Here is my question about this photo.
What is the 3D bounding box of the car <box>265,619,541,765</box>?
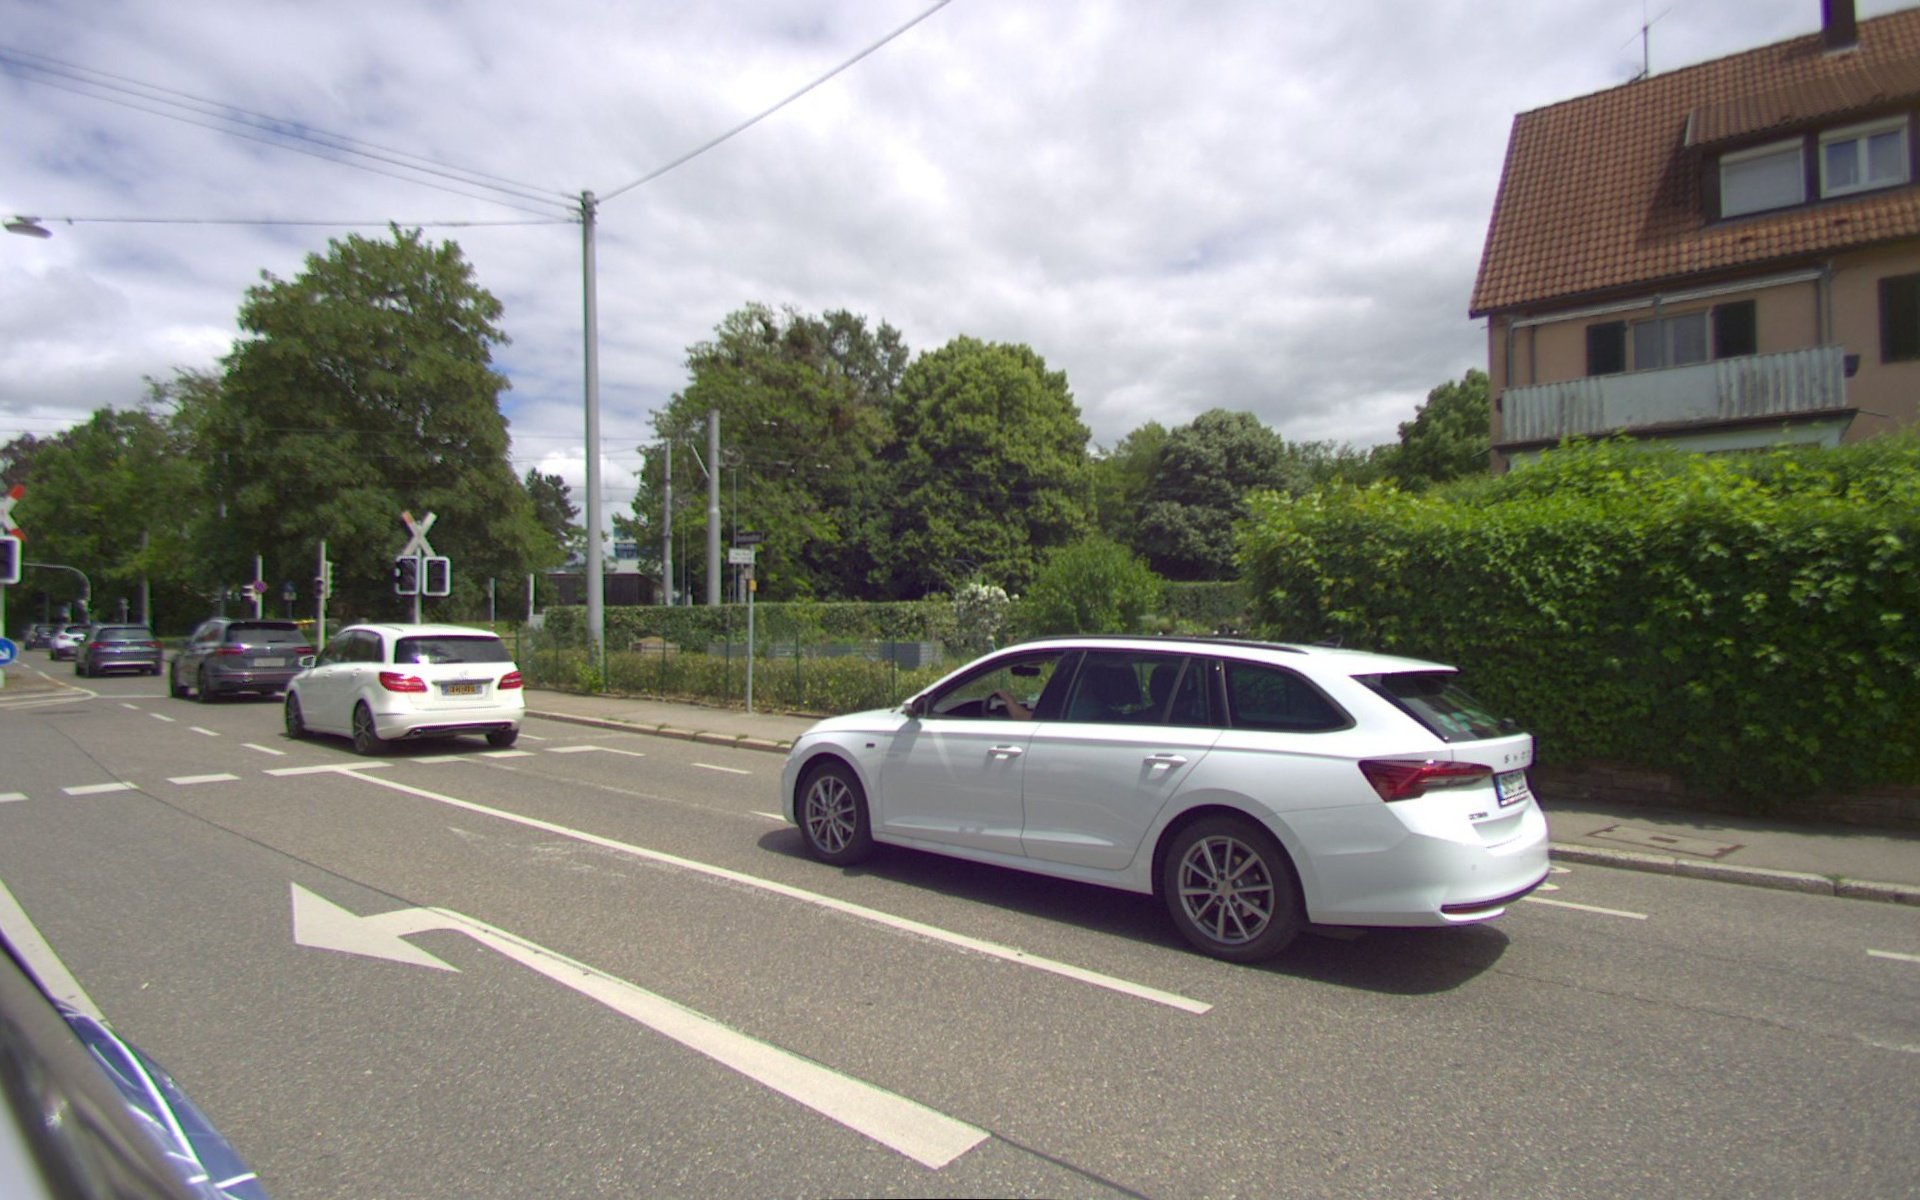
[{"bbox_3d":[-7.307,1.053,13.110,4.157,1.587,1.828,-1,-2,41],"label":"car"}]

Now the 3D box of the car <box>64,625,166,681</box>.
[{"bbox_3d":[-25.662,1.549,30.701,3.998,1.597,1.762,-1,-2,41],"label":"car"}]

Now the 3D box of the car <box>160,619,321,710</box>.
[{"bbox_3d":[-14.549,1.220,20.382,3.998,1.604,1.778,-1,-1,41],"label":"car"}]

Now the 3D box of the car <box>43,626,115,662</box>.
[{"bbox_3d":[-37.357,1.833,42.869,4.000,1.431,1.907,-1,-1,43],"label":"car"}]

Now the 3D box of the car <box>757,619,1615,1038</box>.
[{"bbox_3d":[0.969,0.881,5.785,4.440,1.487,1.856,-1,-3,41],"label":"car"}]

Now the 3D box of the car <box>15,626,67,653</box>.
[{"bbox_3d":[-52.935,2.263,58.295,4.000,1.431,1.907,-1,-1,43],"label":"car"}]
